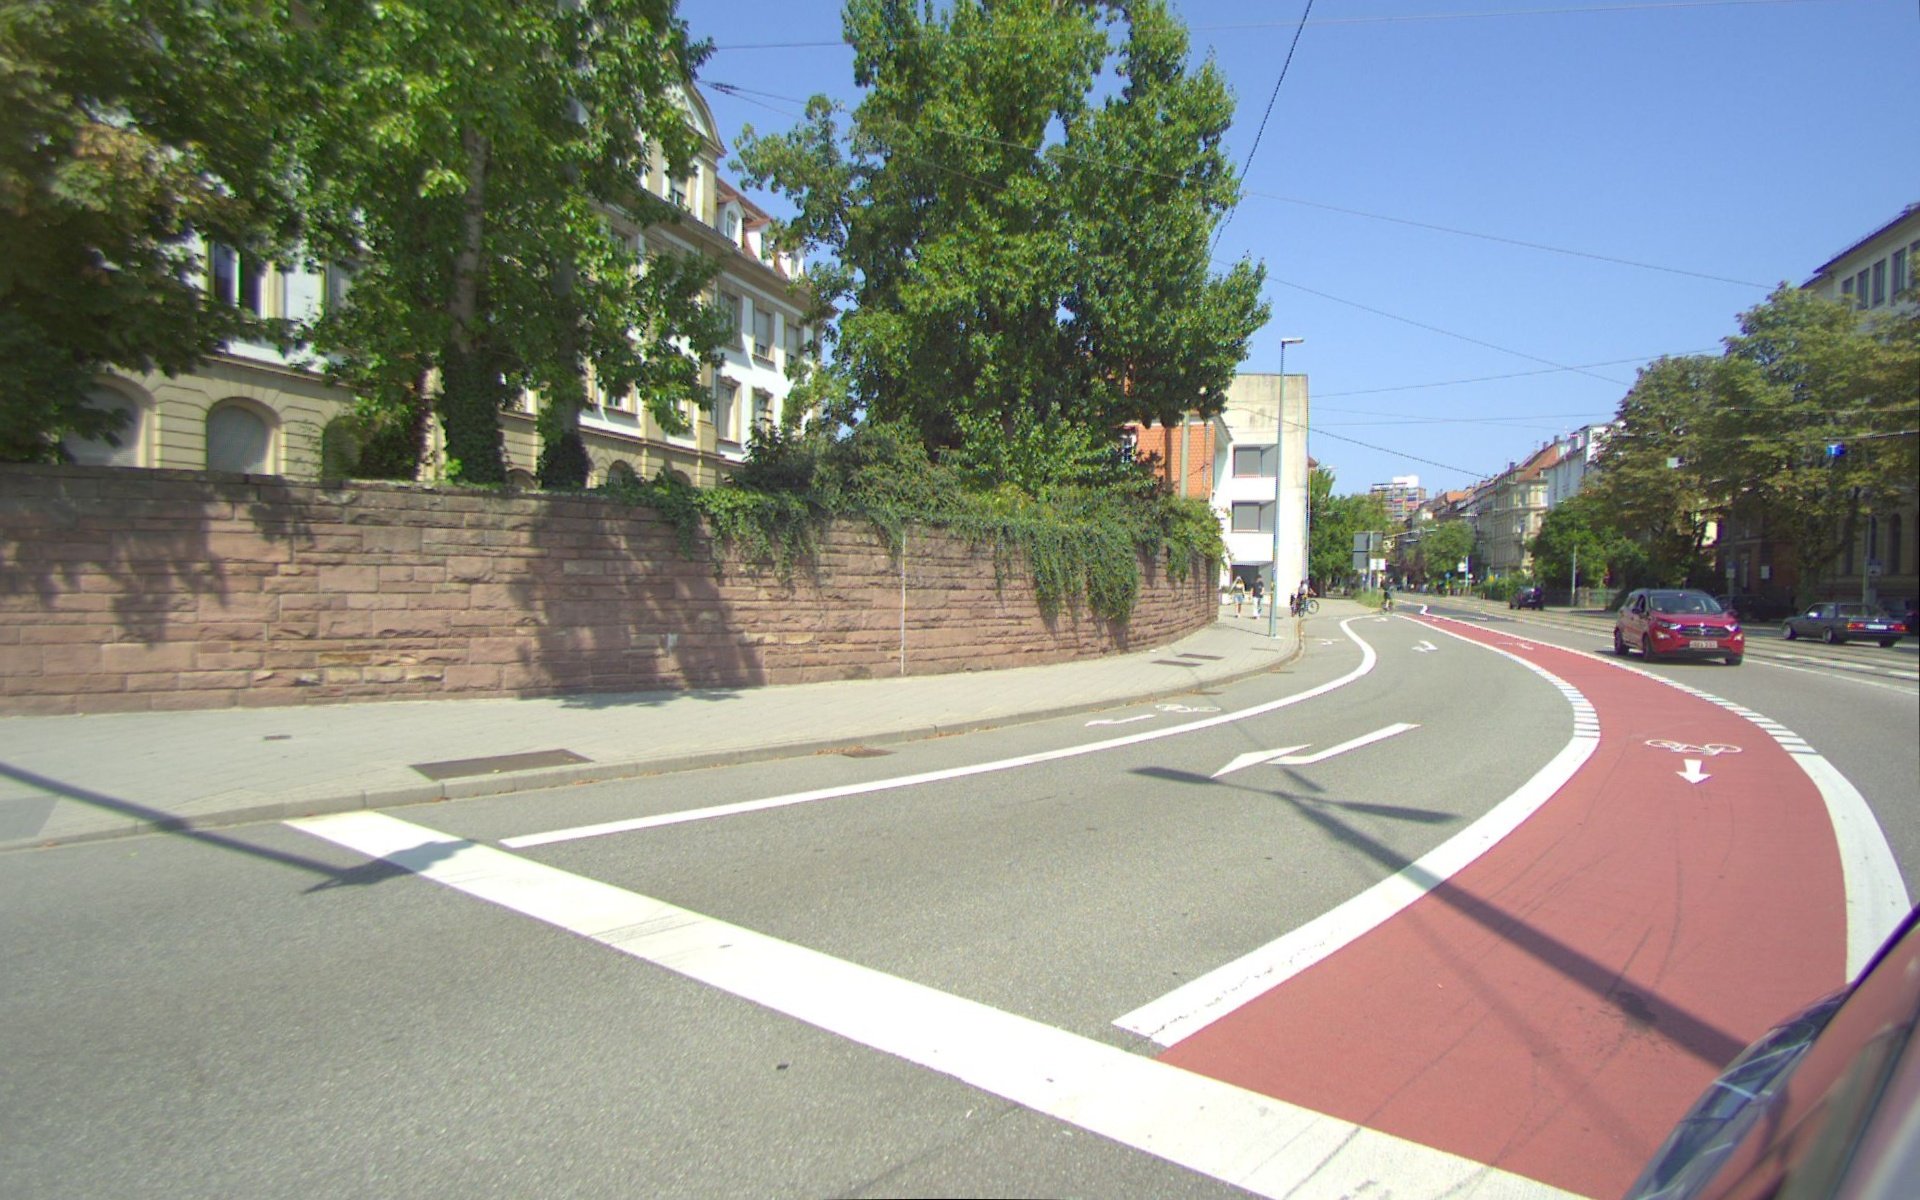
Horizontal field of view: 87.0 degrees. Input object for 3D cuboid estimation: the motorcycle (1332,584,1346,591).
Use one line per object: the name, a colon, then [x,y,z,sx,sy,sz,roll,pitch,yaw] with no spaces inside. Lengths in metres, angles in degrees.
motorcycle: [62.852,-2.029,167.897,1.977,1.027,0.791,5,2,20]

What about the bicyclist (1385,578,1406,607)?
bicyclist: [24.428,-0.421,56.747,0.973,1.618,0.629,1,1,-33]

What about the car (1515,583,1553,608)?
car: [40.140,-0.361,70.850,1.675,1.675,3.559,1,1,19]

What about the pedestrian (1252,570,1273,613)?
pedestrian: [12.266,-0.341,41.041,0.721,1.686,0.873,1,0,22]

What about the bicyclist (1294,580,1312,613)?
bicyclist: [15.464,-0.170,45.641,0.738,1.429,0.955,1,1,20]

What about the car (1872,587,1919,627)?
car: [38.333,0.277,39.806,4.076,1.514,1.825,1,1,-18]

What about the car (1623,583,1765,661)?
car: [16.473,0.430,22.932,1.798,1.570,3.988,1,1,24]

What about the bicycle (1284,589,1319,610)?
bicycle: [17.860,-0.016,52.931,1.675,1.012,0.617,2,1,-19]

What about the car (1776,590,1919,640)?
car: [28.108,0.424,32.068,1.669,1.395,4.598,2,1,14]

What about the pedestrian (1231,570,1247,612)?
pedestrian: [11.428,-0.363,41.453,0.612,1.687,0.484,1,0,19]

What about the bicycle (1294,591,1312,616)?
bicycle: [15.491,0.151,45.745,0.732,1.062,2.219,1,1,19]

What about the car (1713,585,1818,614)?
car: [43.067,-0.056,54.158,4.339,1.480,1.824,1,1,-7]

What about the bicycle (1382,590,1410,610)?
bicycle: [24.470,-0.008,56.768,1.678,1.012,0.616,2,1,-34]

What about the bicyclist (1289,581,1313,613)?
bicyclist: [17.820,-0.155,52.900,0.884,1.558,0.630,3,2,-18]
